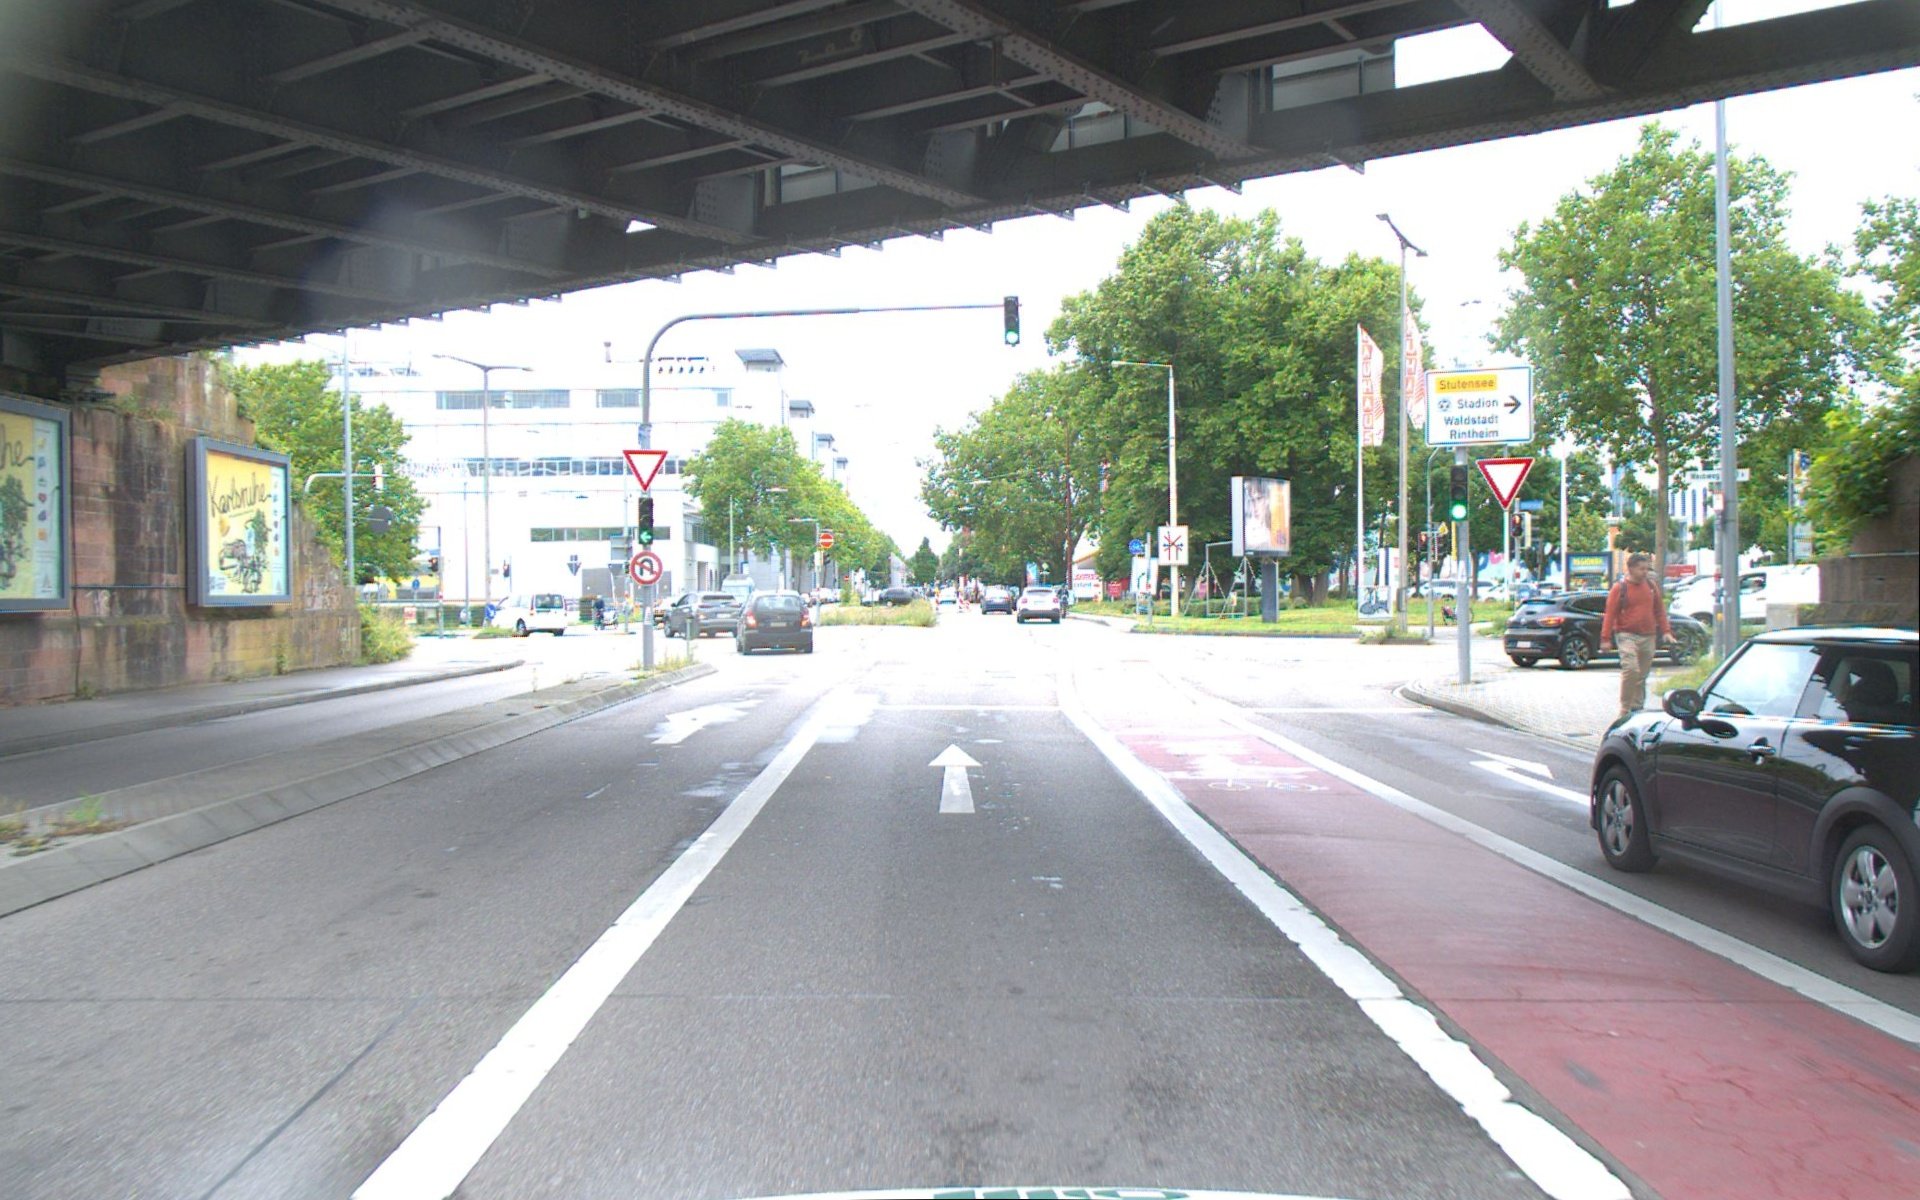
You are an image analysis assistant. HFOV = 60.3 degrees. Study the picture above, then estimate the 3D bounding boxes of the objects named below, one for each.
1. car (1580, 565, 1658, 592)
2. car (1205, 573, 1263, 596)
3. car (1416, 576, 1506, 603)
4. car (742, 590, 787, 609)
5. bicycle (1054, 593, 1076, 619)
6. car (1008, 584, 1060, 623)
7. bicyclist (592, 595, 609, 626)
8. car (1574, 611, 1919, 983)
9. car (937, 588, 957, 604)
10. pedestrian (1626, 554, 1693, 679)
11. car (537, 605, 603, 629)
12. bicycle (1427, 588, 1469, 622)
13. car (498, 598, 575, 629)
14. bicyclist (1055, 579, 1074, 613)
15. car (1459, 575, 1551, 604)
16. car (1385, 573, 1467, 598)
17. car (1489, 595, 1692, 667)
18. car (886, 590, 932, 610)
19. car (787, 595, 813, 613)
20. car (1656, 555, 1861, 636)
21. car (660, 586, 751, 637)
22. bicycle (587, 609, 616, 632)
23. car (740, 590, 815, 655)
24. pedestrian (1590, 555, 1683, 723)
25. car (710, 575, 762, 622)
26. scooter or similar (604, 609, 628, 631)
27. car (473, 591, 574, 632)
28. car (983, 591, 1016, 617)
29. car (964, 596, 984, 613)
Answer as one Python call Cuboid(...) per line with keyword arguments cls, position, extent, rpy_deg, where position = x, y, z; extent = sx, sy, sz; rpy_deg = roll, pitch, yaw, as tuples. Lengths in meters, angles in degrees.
Cuboid(cls="car", position=(44.990, -1.481, 113.021), extent=(4.466, 1.706, 2.152), rpy_deg=(-2, 0, -6))
Cuboid(cls="car", position=(23.100, -1.311, 139.520), extent=(4.461, 1.821, 2.073), rpy_deg=(-1, 1, -1))
Cuboid(cls="car", position=(29.243, -0.599, 96.594), extent=(4.581, 1.523, 2.169), rpy_deg=(1, 0, -3))
Cuboid(cls="car", position=(-19.991, -0.073, 169.098), extent=(4.324, 1.814, 1.824), rpy_deg=(-2, 0, -3))
Cuboid(cls="bicycle", position=(5.187, 0.287, 81.871), extent=(0.800, 1.234, 2.682), rpy_deg=(-2, 0, -1))
Cuboid(cls="car", position=(3.161, 0.128, 71.313), extent=(1.787, 1.628, 3.773), rpy_deg=(0, 1, -4))
Cuboid(cls="bicyclist", position=(-18.152, 0.539, 83.597), extent=(0.631, 1.545, 0.627), rpy_deg=(1, 1, 12))
Cuboid(cls="car", position=(4.601, 0.794, 8.207), extent=(1.645, 1.456, 3.773), rpy_deg=(0, 0, -1))
Cuboid(cls="car", position=(-1.291, -0.410, 166.964), extent=(1.760, 1.540, 3.703), rpy_deg=(0, 1, -4))
Cuboid(cls="pedestrian", position=(9.523, 0.219, 22.544), extent=(0.726, 1.668, 0.779), rpy_deg=(-1, 0, 15))
Cuboid(cls="car", position=(-28.664, 1.243, 121.702), extent=(4.437, 1.662, 1.911), rpy_deg=(-2, 0, -4))
Cuboid(cls="bicycle", position=(17.069, 0.183, 57.808), extent=(1.790, 1.137, 0.481), rpy_deg=(-2, 0, -40))
Cuboid(cls="car", position=(-22.602, 0.736, 88.337), extent=(3.580, 1.554, 1.775), rpy_deg=(-1, 0, 18))
Cuboid(cls="bicyclist", position=(5.171, -0.204, 81.867), extent=(0.800, 1.658, 1.235), rpy_deg=(-2, 0, -1))
Cuboid(cls="car", position=(29.676, -0.565, 90.080), extent=(4.357, 1.523, 1.929), rpy_deg=(1, 0, -6))
Cuboid(cls="car", position=(28.833, -0.889, 102.389), extent=(4.443, 1.523, 1.957), rpy_deg=(1, 0, -6))
Cuboid(cls="car", position=(12.090, 0.574, 31.766), extent=(3.352, 1.303, 1.646), rpy_deg=(0, 1, -16))
Cuboid(cls="car", position=(-4.233, 0.010, 138.682), extent=(3.804, 1.583, 1.825), rpy_deg=(1, 0, -2))
Cuboid(cls="car", position=(-14.689, 0.358, 151.933), extent=(1.782, 1.501, 4.130), rpy_deg=(-2, -1, 1))
Cuboid(cls="car", position=(19.536, -0.081, 40.509), extent=(4.327, 1.861, 1.875), rpy_deg=(-1, -1, 32))
Cuboid(cls="car", position=(-8.784, 0.361, 56.835), extent=(1.757, 1.681, 3.627), rpy_deg=(0, 1, -34))
Cuboid(cls="bicycle", position=(-18.140, 1.043, 83.708), extent=(0.631, 1.081, 2.002), rpy_deg=(1, 1, 12))
Cuboid(cls="car", position=(-4.609, 0.540, 42.134), extent=(1.734, 1.554, 3.666), rpy_deg=(0, 1, -4))
Cuboid(cls="pedestrian", position=(7.431, 0.410, 18.163), extent=(0.855, 1.790, 0.786), rpy_deg=(-1, 0, 28))
Cuboid(cls="car", position=(-14.311, -0.123, 105.974), extent=(2.280, 2.875, 5.951), rpy_deg=(-1, 0, 2))
Cuboid(cls="scooter or similar", position=(-17.754, 1.049, 85.398), extent=(0.631, 1.081, 1.451), rpy_deg=(1, 1, 12))
Cuboid(cls="car", position=(-17.767, 0.419, 67.172), extent=(1.952, 1.554, 4.933), rpy_deg=(-1, 1, -42))
Cuboid(cls="car", position=(2.334, 0.230, 99.211), extent=(1.651, 1.540, 3.703), rpy_deg=(0, 1, -4))
Cuboid(cls="car", position=(1.425, 0.455, 167.776), extent=(1.839, 1.661, 3.998), rpy_deg=(-2, 1, -2))
